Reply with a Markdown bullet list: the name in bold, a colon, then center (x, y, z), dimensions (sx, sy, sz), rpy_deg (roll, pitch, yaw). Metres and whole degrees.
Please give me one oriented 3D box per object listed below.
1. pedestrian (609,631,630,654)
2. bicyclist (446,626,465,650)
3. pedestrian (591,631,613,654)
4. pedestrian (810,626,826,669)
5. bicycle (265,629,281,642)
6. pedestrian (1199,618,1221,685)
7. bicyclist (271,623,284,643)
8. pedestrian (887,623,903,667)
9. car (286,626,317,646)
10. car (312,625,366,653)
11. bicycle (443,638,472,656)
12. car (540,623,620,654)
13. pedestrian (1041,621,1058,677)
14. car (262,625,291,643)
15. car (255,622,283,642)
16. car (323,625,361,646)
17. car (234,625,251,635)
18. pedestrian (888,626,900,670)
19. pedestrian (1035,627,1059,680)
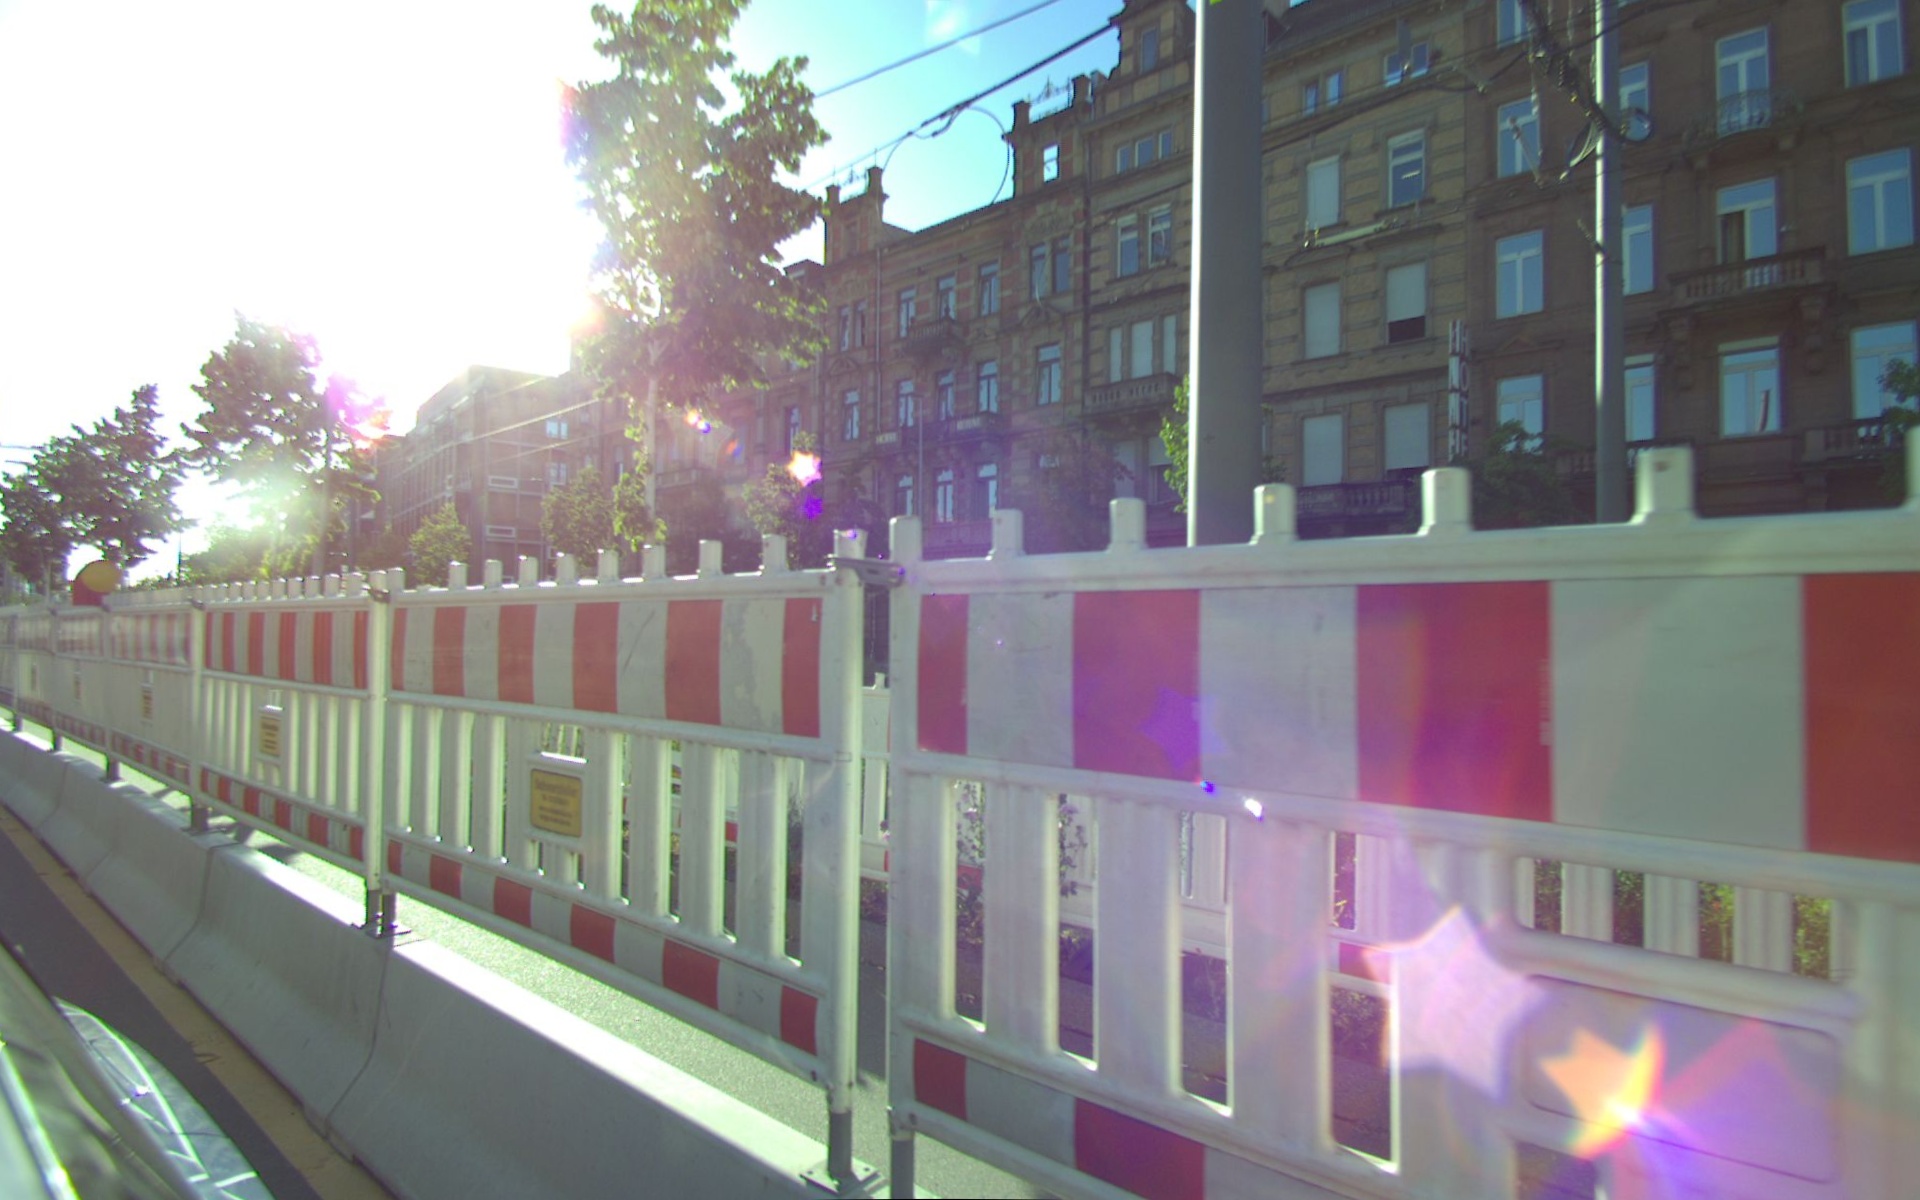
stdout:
- **pedestrian**: center (-18.013, 2.242, 53.594), dimensions (0.929, 1.217, 0.682), rpy_deg (-1, -3, 43)
- **bicyclist**: center (-25.710, 1.932, 51.547), dimensions (0.738, 1.249, 0.630), rpy_deg (-2, -3, 43)
- **pedestrian**: center (-19.104, 2.242, 53.994), dimensions (0.929, 1.217, 0.782), rpy_deg (-1, -3, 43)
- **pedestrian**: center (-5.417, 1.814, 38.670), dimensions (0.425, 1.597, 0.399), rpy_deg (-1, -1, 41)
- **bicycle**: center (-56.356, 2.914, 83.023), dimensions (1.827, 0.985, 0.687), rpy_deg (-1, -3, 43)
- **pedestrian**: center (6.728, 1.368, 27.202), dimensions (0.405, 1.778, 0.503), rpy_deg (-1, -1, 35)
- **bicyclist**: center (-56.058, 2.692, 83.122), dimensions (0.882, 1.670, 0.687), rpy_deg (-1, -3, 43)
- **pedestrian**: center (-2.414, 1.670, 37.736), dimensions (0.476, 1.597, 0.483), rpy_deg (-1, 0, 7)
- **car**: center (-54.446, 2.980, 83.625), dimensions (1.628, 1.566, 3.972), rpy_deg (2, -2, -40)
- **car**: center (-34.133, 2.154, 55.602), dimensions (3.623, 1.494, 1.577), rpy_deg (-2, -3, 43)
- **bicycle**: center (-25.497, 2.376, 51.337), dimensions (2.031, 0.864, 0.630), rpy_deg (-2, -3, 43)
- **car**: center (-24.447, 2.500, 65.229), dimensions (1.895, 1.918, 4.467), rpy_deg (-1, -3, 37)
- **pedestrian**: center (2.872, 1.560, 32.449), dimensions (0.406, 1.778, 0.363), rpy_deg (-1, -1, 42)
- **car**: center (-58.711, 2.920, 86.932), dimensions (1.604, 1.452, 3.824), rpy_deg (0, -2, -41)
- **car**: center (-64.881, 3.024, 94.976), dimensions (1.729, 1.785, 4.337), rpy_deg (0, -2, -41)
- **car**: center (-45.556, 2.604, 74.578), dimensions (1.709, 1.472, 3.905), rpy_deg (-1, -1, -42)
- **car**: center (-106.701, 4.467, 150.524), dimensions (1.700, 1.556, 3.636), rpy_deg (0, -1, -41)
- **pedestrian**: center (-2.439, 1.768, 37.325), dimensions (0.401, 1.597, 0.368), rpy_deg (-1, -1, 2)
- **pedestrian**: center (2.684, 1.651, 31.156), dimensions (0.533, 1.597, 0.481), rpy_deg (-1, -1, 42)
